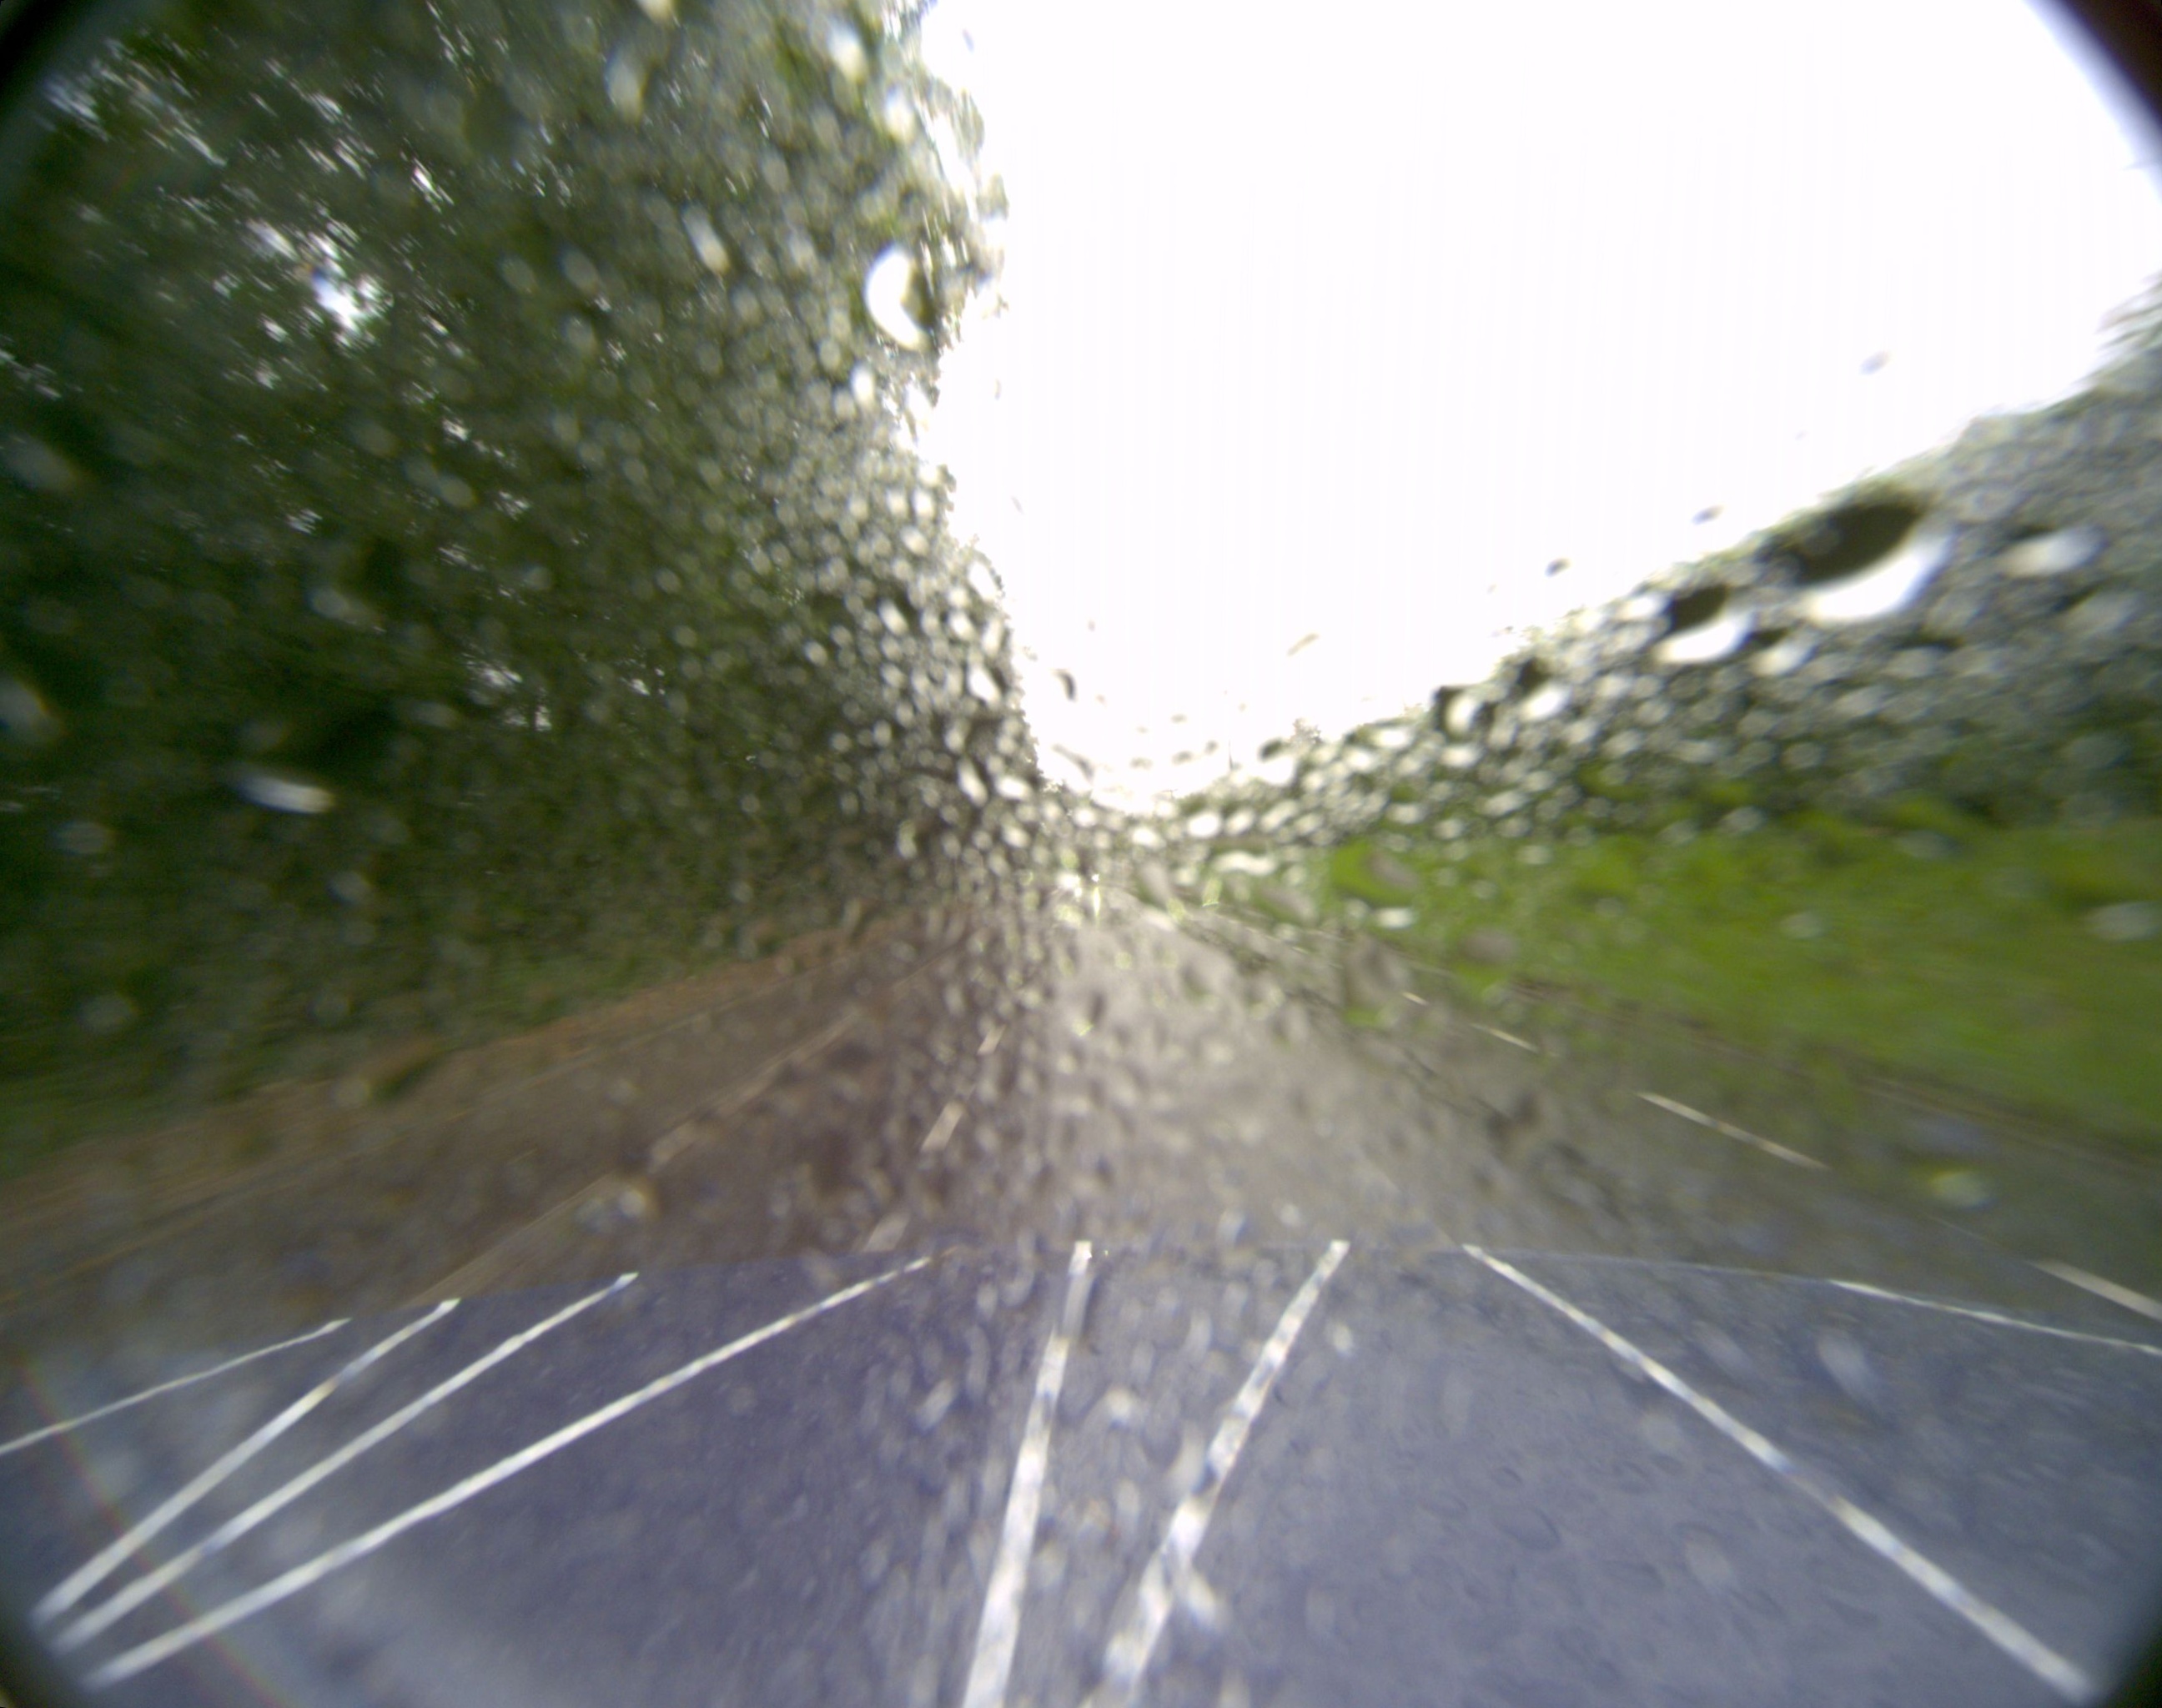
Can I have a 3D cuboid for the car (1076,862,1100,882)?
[{"bbox_3d":[0.602,1.432,61.666,1.799,1.543,4.001,-2,0,2],"label":"car"}]
